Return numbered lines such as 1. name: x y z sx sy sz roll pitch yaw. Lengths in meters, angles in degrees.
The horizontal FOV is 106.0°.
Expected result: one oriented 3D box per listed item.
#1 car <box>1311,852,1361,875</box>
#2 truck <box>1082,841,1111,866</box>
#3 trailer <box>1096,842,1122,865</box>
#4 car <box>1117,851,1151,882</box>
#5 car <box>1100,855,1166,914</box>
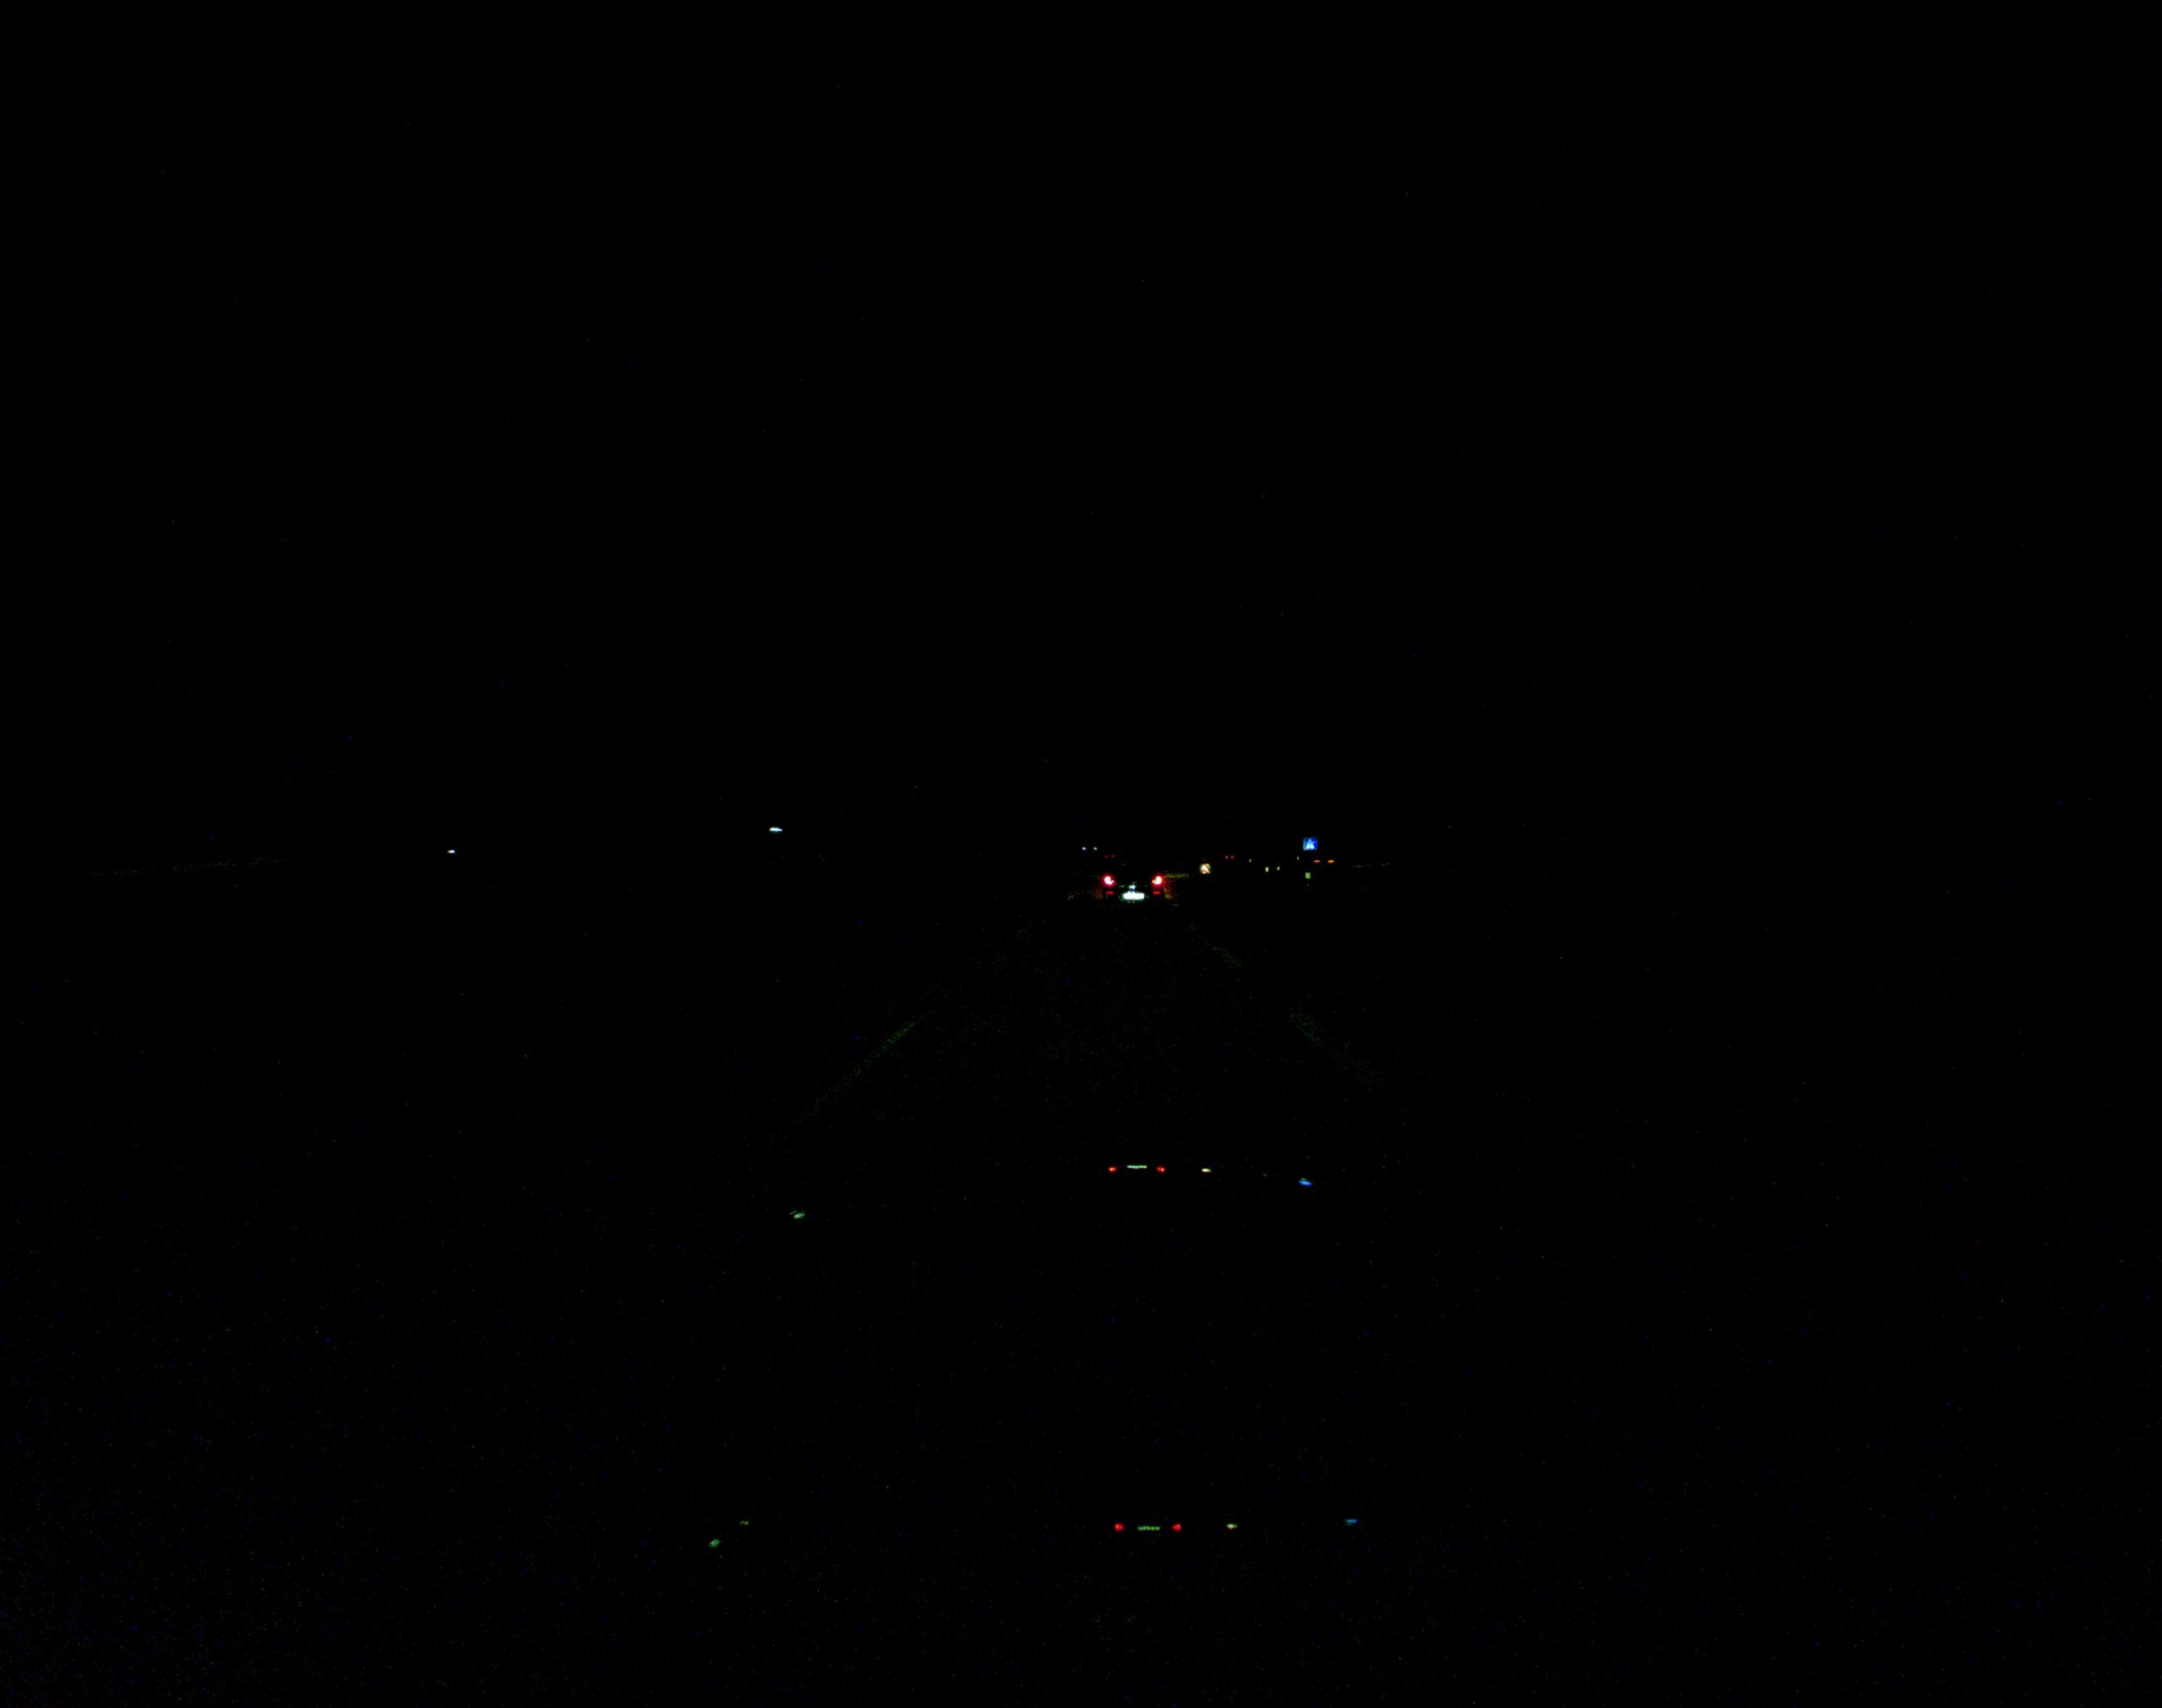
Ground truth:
1. car: 21.857 0.778 69.764 4.284 1.816 1.916 -1 0 -37
2. truck: 2.732 -0.047 141.121 2.662 4.044 10.693 -2 0 13
3. trailer: 5.265 -0.101 150.761 2.697 3.956 9.084 -2 0 15
4. car: 3.133 0.702 47.853 1.898 1.698 4.005 -1 0 4
5. car: 1.380 0.788 22.845 1.583 1.508 3.999 0 0 -1
